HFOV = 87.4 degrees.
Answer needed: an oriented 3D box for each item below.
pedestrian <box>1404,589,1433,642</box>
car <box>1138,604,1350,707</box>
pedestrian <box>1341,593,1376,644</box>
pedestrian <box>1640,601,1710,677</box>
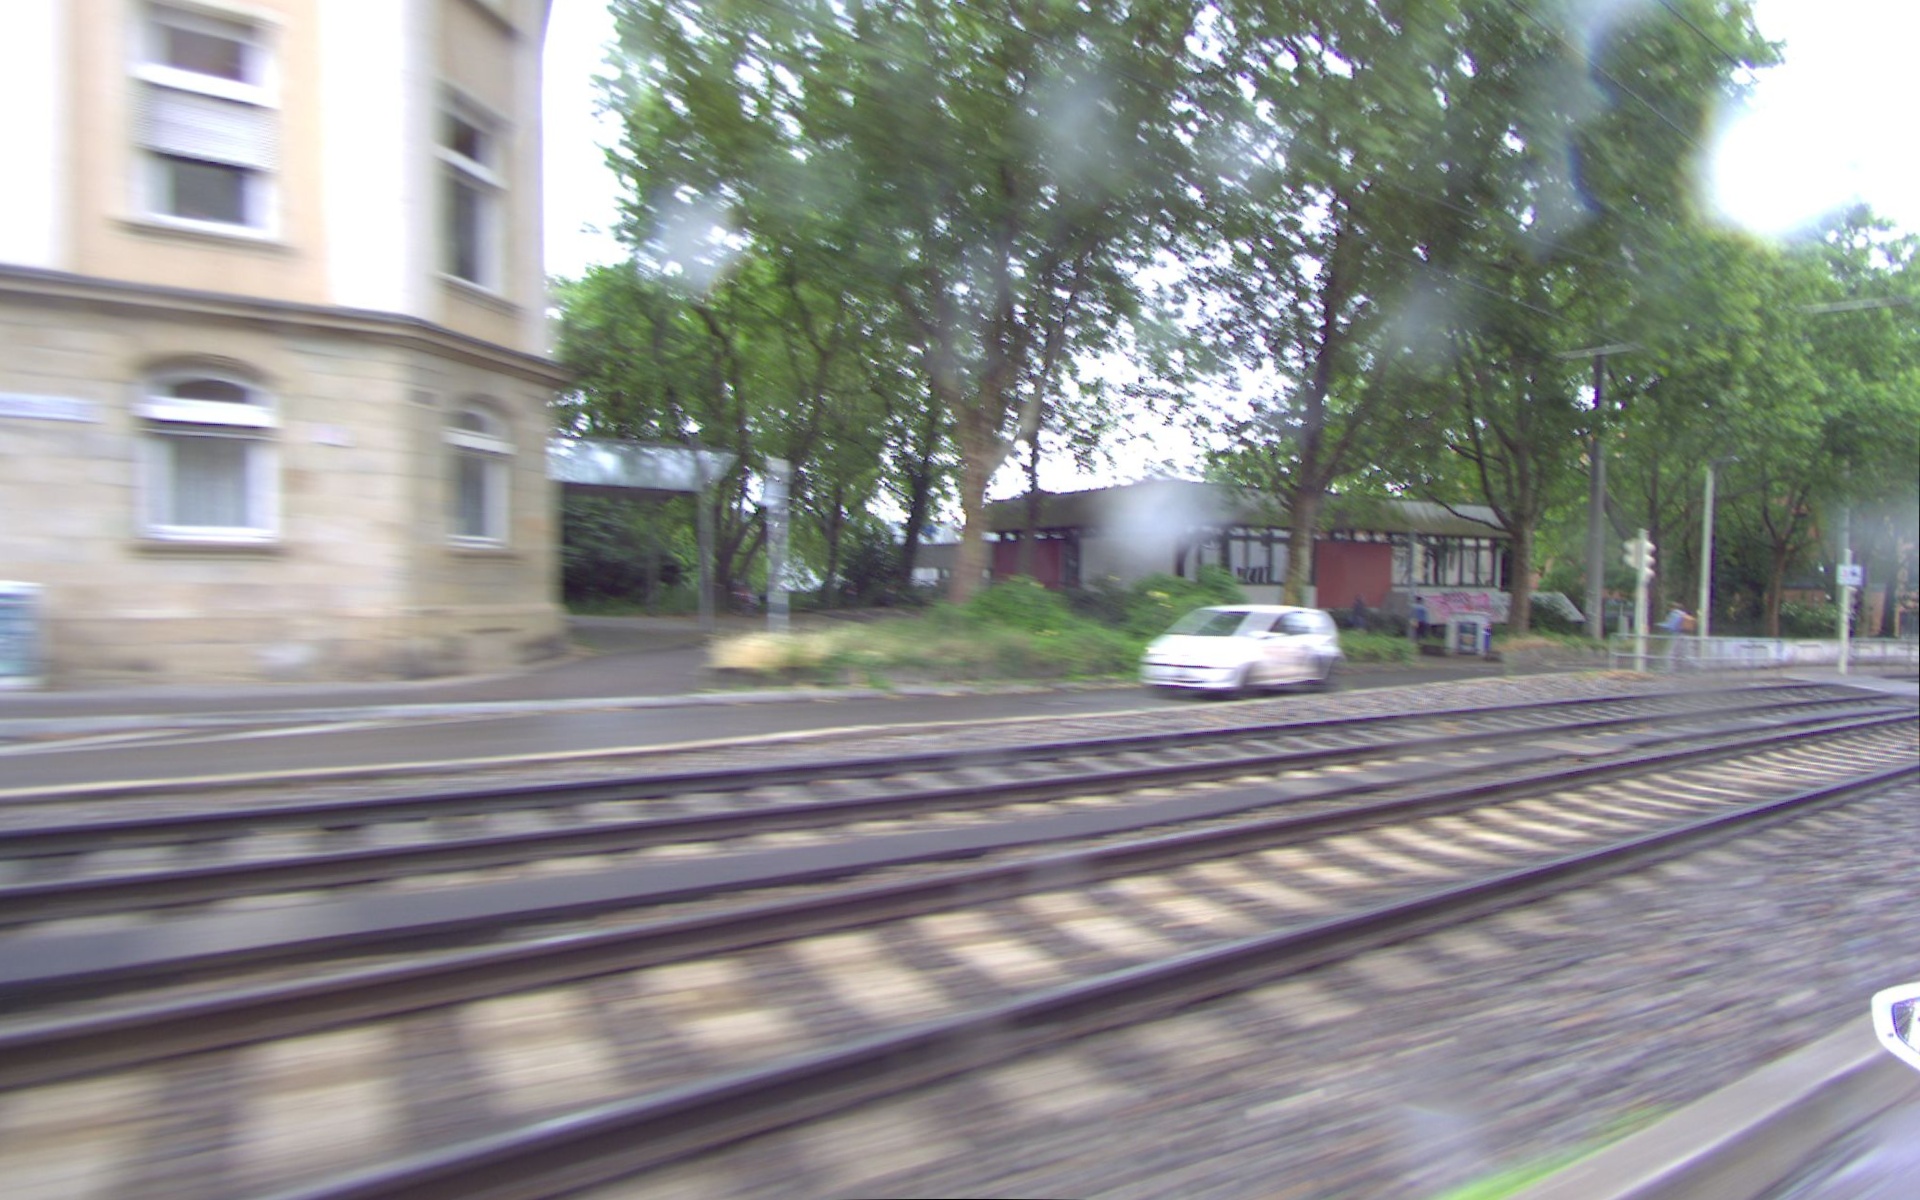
[{"bbox_3d":[14.722,0.491,32.248,0.684,1.684,0.638,1,-1,41],"label":"pedestrian"},{"bbox_3d":[4.849,0.859,16.936,3.755,1.517,1.644,1,0,-41],"label":"car"},{"bbox_3d":[13.528,0.621,34.070,1.003,1.705,0.614,1,-1,-30],"label":"pedestrian"},{"bbox_3d":[16.932,0.910,23.795,0.893,1.742,1.050,1,1,-29],"label":"pedestrian"}]
